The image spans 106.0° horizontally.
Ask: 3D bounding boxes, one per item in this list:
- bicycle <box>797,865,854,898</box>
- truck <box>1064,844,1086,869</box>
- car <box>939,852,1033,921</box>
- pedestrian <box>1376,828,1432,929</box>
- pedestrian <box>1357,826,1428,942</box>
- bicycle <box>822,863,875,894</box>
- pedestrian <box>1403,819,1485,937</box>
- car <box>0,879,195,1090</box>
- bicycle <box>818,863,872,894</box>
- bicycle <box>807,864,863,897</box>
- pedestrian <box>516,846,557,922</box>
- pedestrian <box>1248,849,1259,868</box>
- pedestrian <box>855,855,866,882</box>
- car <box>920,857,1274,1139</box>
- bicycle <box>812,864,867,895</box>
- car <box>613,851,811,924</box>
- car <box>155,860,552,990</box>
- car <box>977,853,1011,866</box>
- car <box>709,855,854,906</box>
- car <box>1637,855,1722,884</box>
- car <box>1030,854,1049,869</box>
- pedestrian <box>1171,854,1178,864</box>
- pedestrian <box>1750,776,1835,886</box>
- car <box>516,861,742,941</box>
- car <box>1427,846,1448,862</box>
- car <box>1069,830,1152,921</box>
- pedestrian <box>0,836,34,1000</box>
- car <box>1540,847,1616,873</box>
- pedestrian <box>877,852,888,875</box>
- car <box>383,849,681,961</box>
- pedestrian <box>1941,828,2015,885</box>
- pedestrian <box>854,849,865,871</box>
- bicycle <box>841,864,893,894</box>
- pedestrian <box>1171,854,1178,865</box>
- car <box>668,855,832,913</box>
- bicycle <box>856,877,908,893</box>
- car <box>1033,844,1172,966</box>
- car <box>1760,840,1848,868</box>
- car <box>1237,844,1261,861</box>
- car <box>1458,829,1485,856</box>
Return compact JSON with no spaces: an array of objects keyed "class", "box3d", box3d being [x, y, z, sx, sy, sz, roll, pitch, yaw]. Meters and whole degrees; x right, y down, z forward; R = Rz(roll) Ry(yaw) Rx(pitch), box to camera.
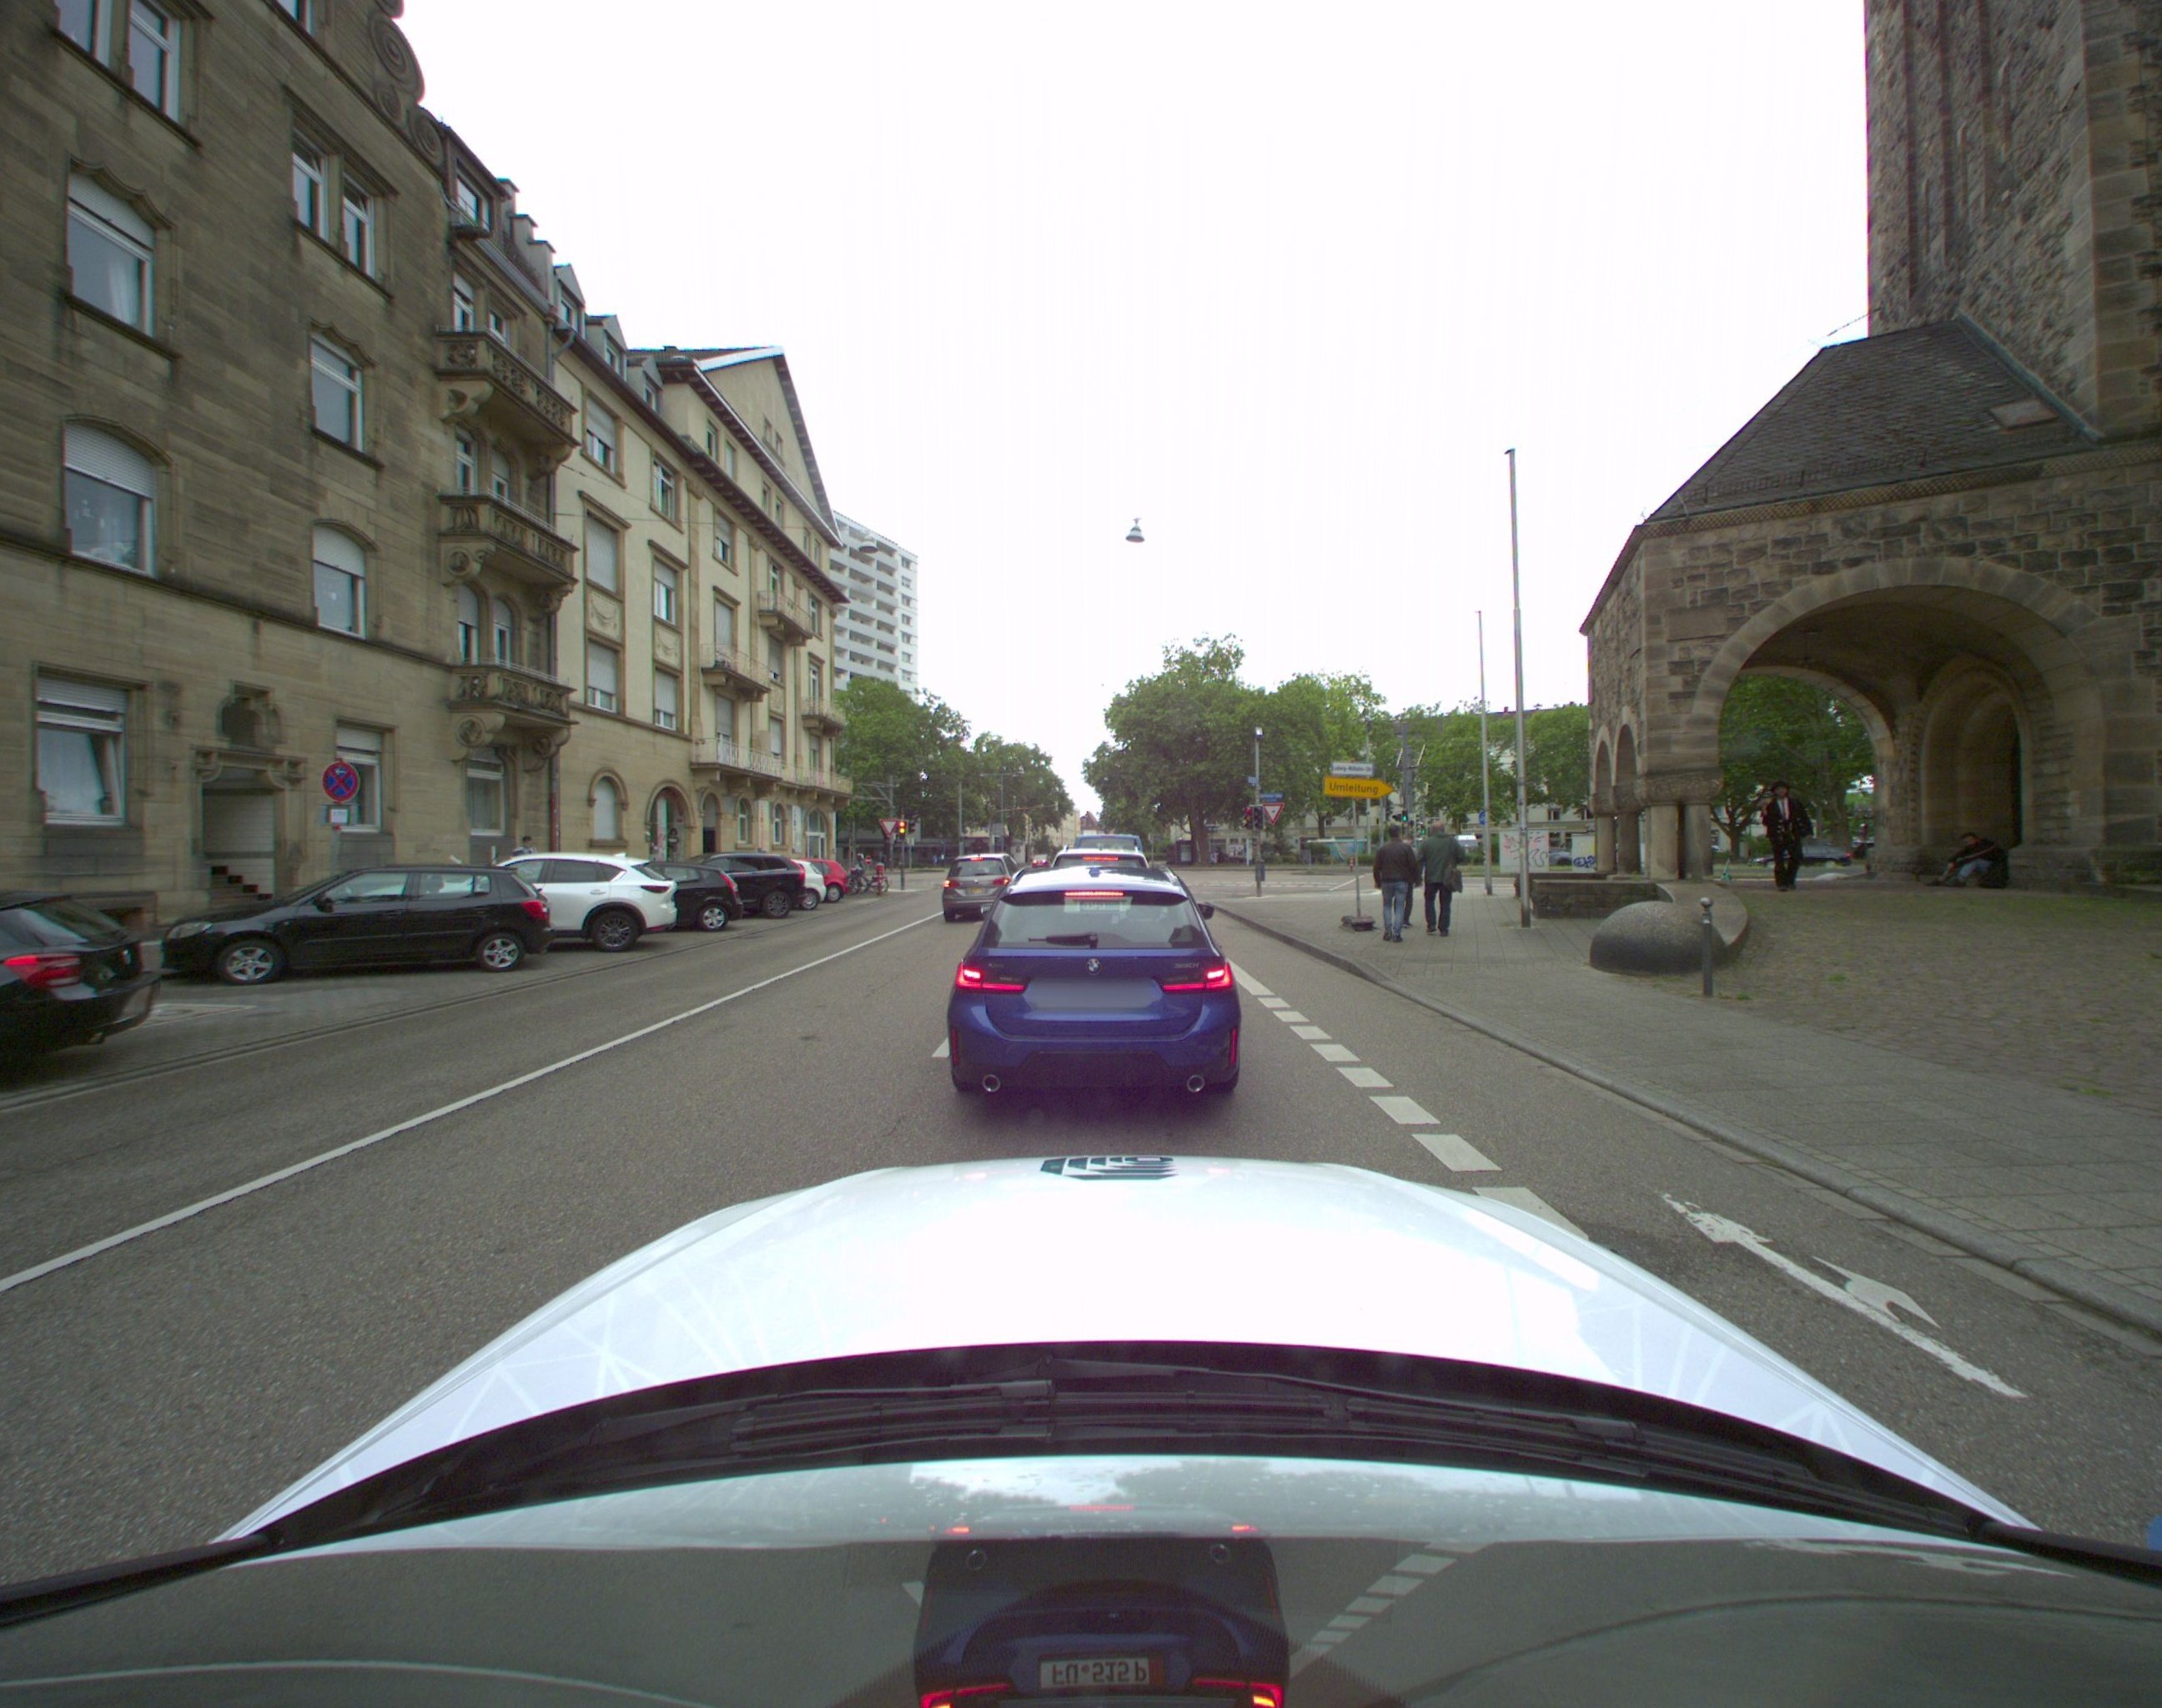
[{"class":"bicycle","box3d":[-9.268,0.985,29.517,1.877,1.035,0.443,4,0,4]},{"class":"truck","box3d":[-0.597,0.243,81.072,2.068,2.408,5.461,-2,0,0]},{"class":"car","box3d":[-2.267,0.730,20.340,1.726,1.525,4.002,-1,0,2]},{"class":"pedestrian","box3d":[5.613,0.418,14.193,0.629,1.673,0.971,-3,0,8]},{"class":"pedestrian","box3d":[4.785,0.444,12.562,0.672,1.686,0.969,-3,0,2]},{"class":"bicycle","box3d":[-9.163,0.962,32.166,1.880,1.035,0.442,5,0,-1]},{"class":"pedestrian","box3d":[5.723,0.364,12.905,0.801,1.758,0.969,-3,0,1]},{"class":"car","box3d":[-9.126,0.901,5.446,4.016,1.417,1.644,1,-1,-34]},{"class":"bicycle","box3d":[-9.147,0.945,31.529,1.880,1.035,0.442,5,0,-1]},{"class":"bicycle","box3d":[-9.152,0.984,30.331,1.880,1.035,0.442,5,0,-1]},{"class":"pedestrian","box3d":[-12.932,0.707,19.357,0.564,1.785,0.551,-1,0,3]},{"class":"pedestrian","box3d":[16.339,0.440,77.128,0.781,1.743,0.925,-1,0,0]},{"class":"pedestrian","box3d":[-16.901,1.097,62.493,0.623,2.014,0.617,0,-1,1]},{"class":"car","box3d":[0.149,0.755,6.377,1.808,1.405,4.322,-1,0,2]},{"class":"bicycle","box3d":[-9.150,0.966,30.867,1.880,1.035,0.442,5,0,-1]},{"class":"car","box3d":[-9.215,0.765,20.536,4.248,1.652,1.711,0,0,-41]},{"class":"car","box3d":[-9.628,0.862,11.203,3.830,1.497,1.552,1,-1,-37]},{"class":"car","box3d":[-11.300,0.687,105.937,4.014,1.706,1.980,0,-1,-32]},{"class":"car","box3d":[-9.495,0.803,26.044,1.663,1.472,4.024,1,0,43]},{"class":"car","box3d":[36.508,0.943,49.775,3.901,1.711,1.697,-1,-1,24]},{"class":"car","box3d":[-4.209,0.778,83.517,1.643,1.447,3.512,-1,0,2]},{"class":"pedestrian","box3d":[11.880,0.635,103.848,0.814,1.372,0.763,-1,0,1]},{"class":"pedestrian","box3d":[12.229,-0.373,14.035,0.806,1.808,1.025,-1,0,22]},{"class":"car","box3d":[-9.519,0.906,17.270,4.017,1.494,1.713,0,0,-36]},{"class":"car","box3d":[35.207,0.004,80.422,1.649,1.515,3.962,-1,0,28]},{"class":"car","box3d":[0.721,0.468,20.145,1.808,2.005,4.002,-1,0,2]},{"class":"pedestrian","box3d":[-13.231,0.771,9.761,0.616,1.958,0.551,-1,0,2]},{"class":"car","box3d":[31.600,0.410,51.875,3.940,1.561,1.697,-1,0,24]},{"class":"pedestrian","box3d":[-16.055,0.759,65.963,0.672,1.771,0.726,-1,0,1]},{"class":"car","box3d":[-9.278,0.791,14.203,4.004,1.723,1.827,0,0,-23]},{"class":"pedestrian","box3d":[15.549,0.040,14.136,0.665,0.951,0.618,-1,0,24]},{"class":"pedestrian","box3d":[-17.784,0.469,65.420,0.672,1.771,0.726,-1,0,1]},{"class":"bicycle","box3d":[-8.584,0.990,32.700,1.880,1.035,0.442,5,0,-1]},{"class":"pedestrian","box3d":[11.845,0.668,102.954,0.850,1.314,0.763,-1,0,1]},{"class":"car","box3d":[-9.352,0.818,23.200,4.021,1.472,1.546,2,0,-41]},{"class":"bicycle","box3d":[-8.220,1.281,33.731,1.880,0.445,1.029,5,2,-1]},{"class":"car","box3d":[0.348,0.671,12.793,1.808,1.592,4.002,-1,0,2]},{"class":"car","box3d":[41.732,0.012,47.105,3.425,1.561,1.697,-1,0,24]},{"class":"car","box3d":[22.121,-0.188,107.077,2.154,2.200,4.024,-1,0,26]},{"class":"car","box3d":[39.204,-1.119,81.731,2.214,2.639,5.480,-1,0,28]}]
